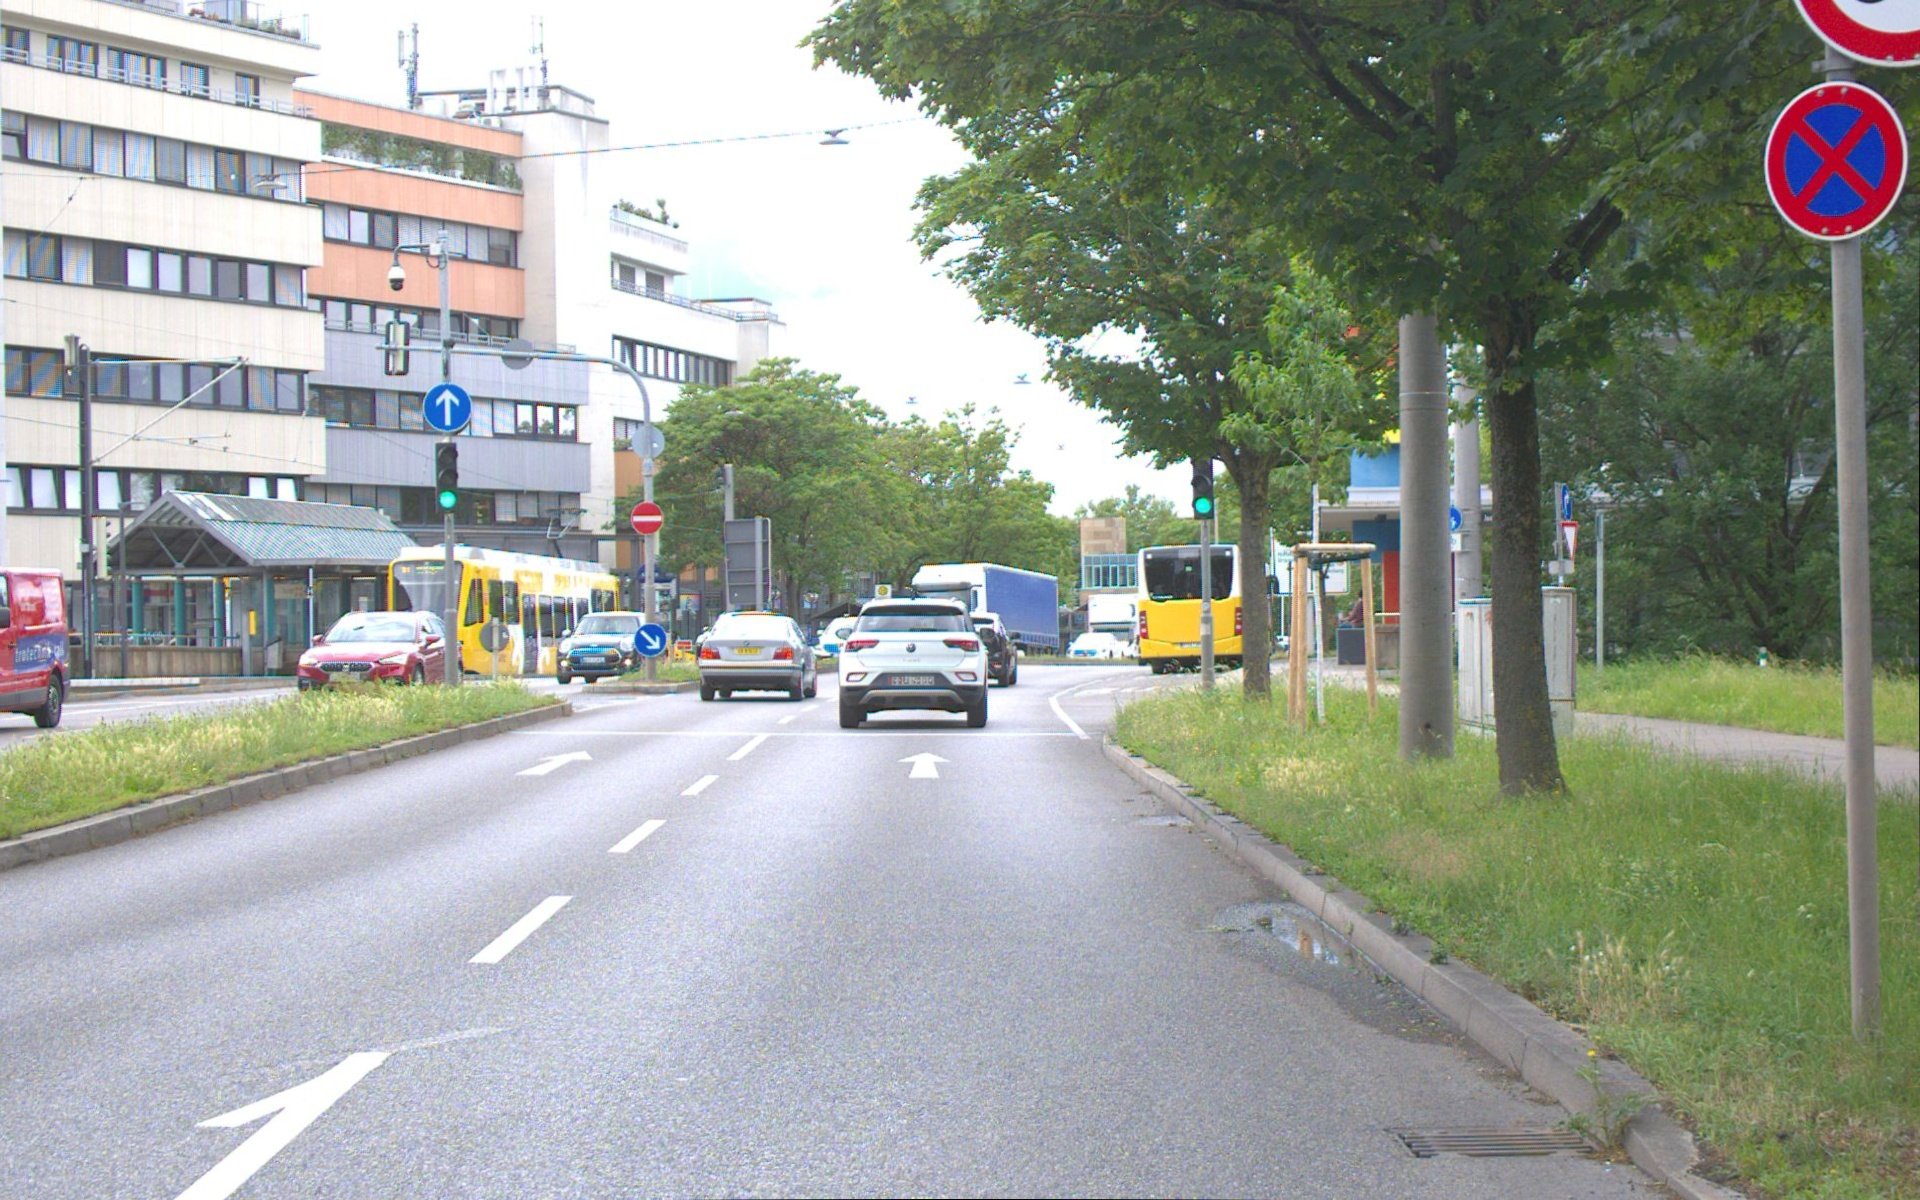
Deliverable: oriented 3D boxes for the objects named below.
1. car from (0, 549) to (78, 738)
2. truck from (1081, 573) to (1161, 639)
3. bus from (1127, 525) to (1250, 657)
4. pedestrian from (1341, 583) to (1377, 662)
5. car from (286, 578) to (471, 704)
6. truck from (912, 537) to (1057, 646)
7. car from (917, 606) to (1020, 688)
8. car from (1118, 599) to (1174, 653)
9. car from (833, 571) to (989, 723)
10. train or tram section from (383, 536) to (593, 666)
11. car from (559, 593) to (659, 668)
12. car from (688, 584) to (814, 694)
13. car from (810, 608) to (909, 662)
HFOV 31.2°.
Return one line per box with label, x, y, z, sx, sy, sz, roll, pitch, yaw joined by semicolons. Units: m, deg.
car;-11.852;0.493;39.885;1.993;2.006;4.835;1;3;0
truck;7.681;0.279;162.997;3.084;3.018;9.355;0;0;7
bus;5.761;-0.229;87.638;2.954;3.179;9.927;0;0;3
pedestrian;9.215;0.519;79.502;0.709;1.810;0.764;0;0;-2
car;-8.808;0.583;52.458;1.993;1.585;4.835;1;3;0
truck;1.129;-0.344;136.412;2.955;4.066;16.594;0;0;10
car;0.190;0.918;69.184;1.700;1.511;3.493;0;1;6
car;6.293;0.872;116.117;1.771;1.565;4.285;0;3;5
car;-0.561;0.536;42.355;1.700;1.543;3.736;3;3;2
train or tram section;-13.174;0.055;97.338;2.560;3.399;13.078;-1;0;7
car;-7.008;0.617;68.906;1.614;1.441;3.652;-1;-1;0
car;-3.348;0.609;55.674;1.700;1.510;3.737;0;3;2
car;-2.844;0.982;98.165;1.966;1.494;4.773;0;0;9
